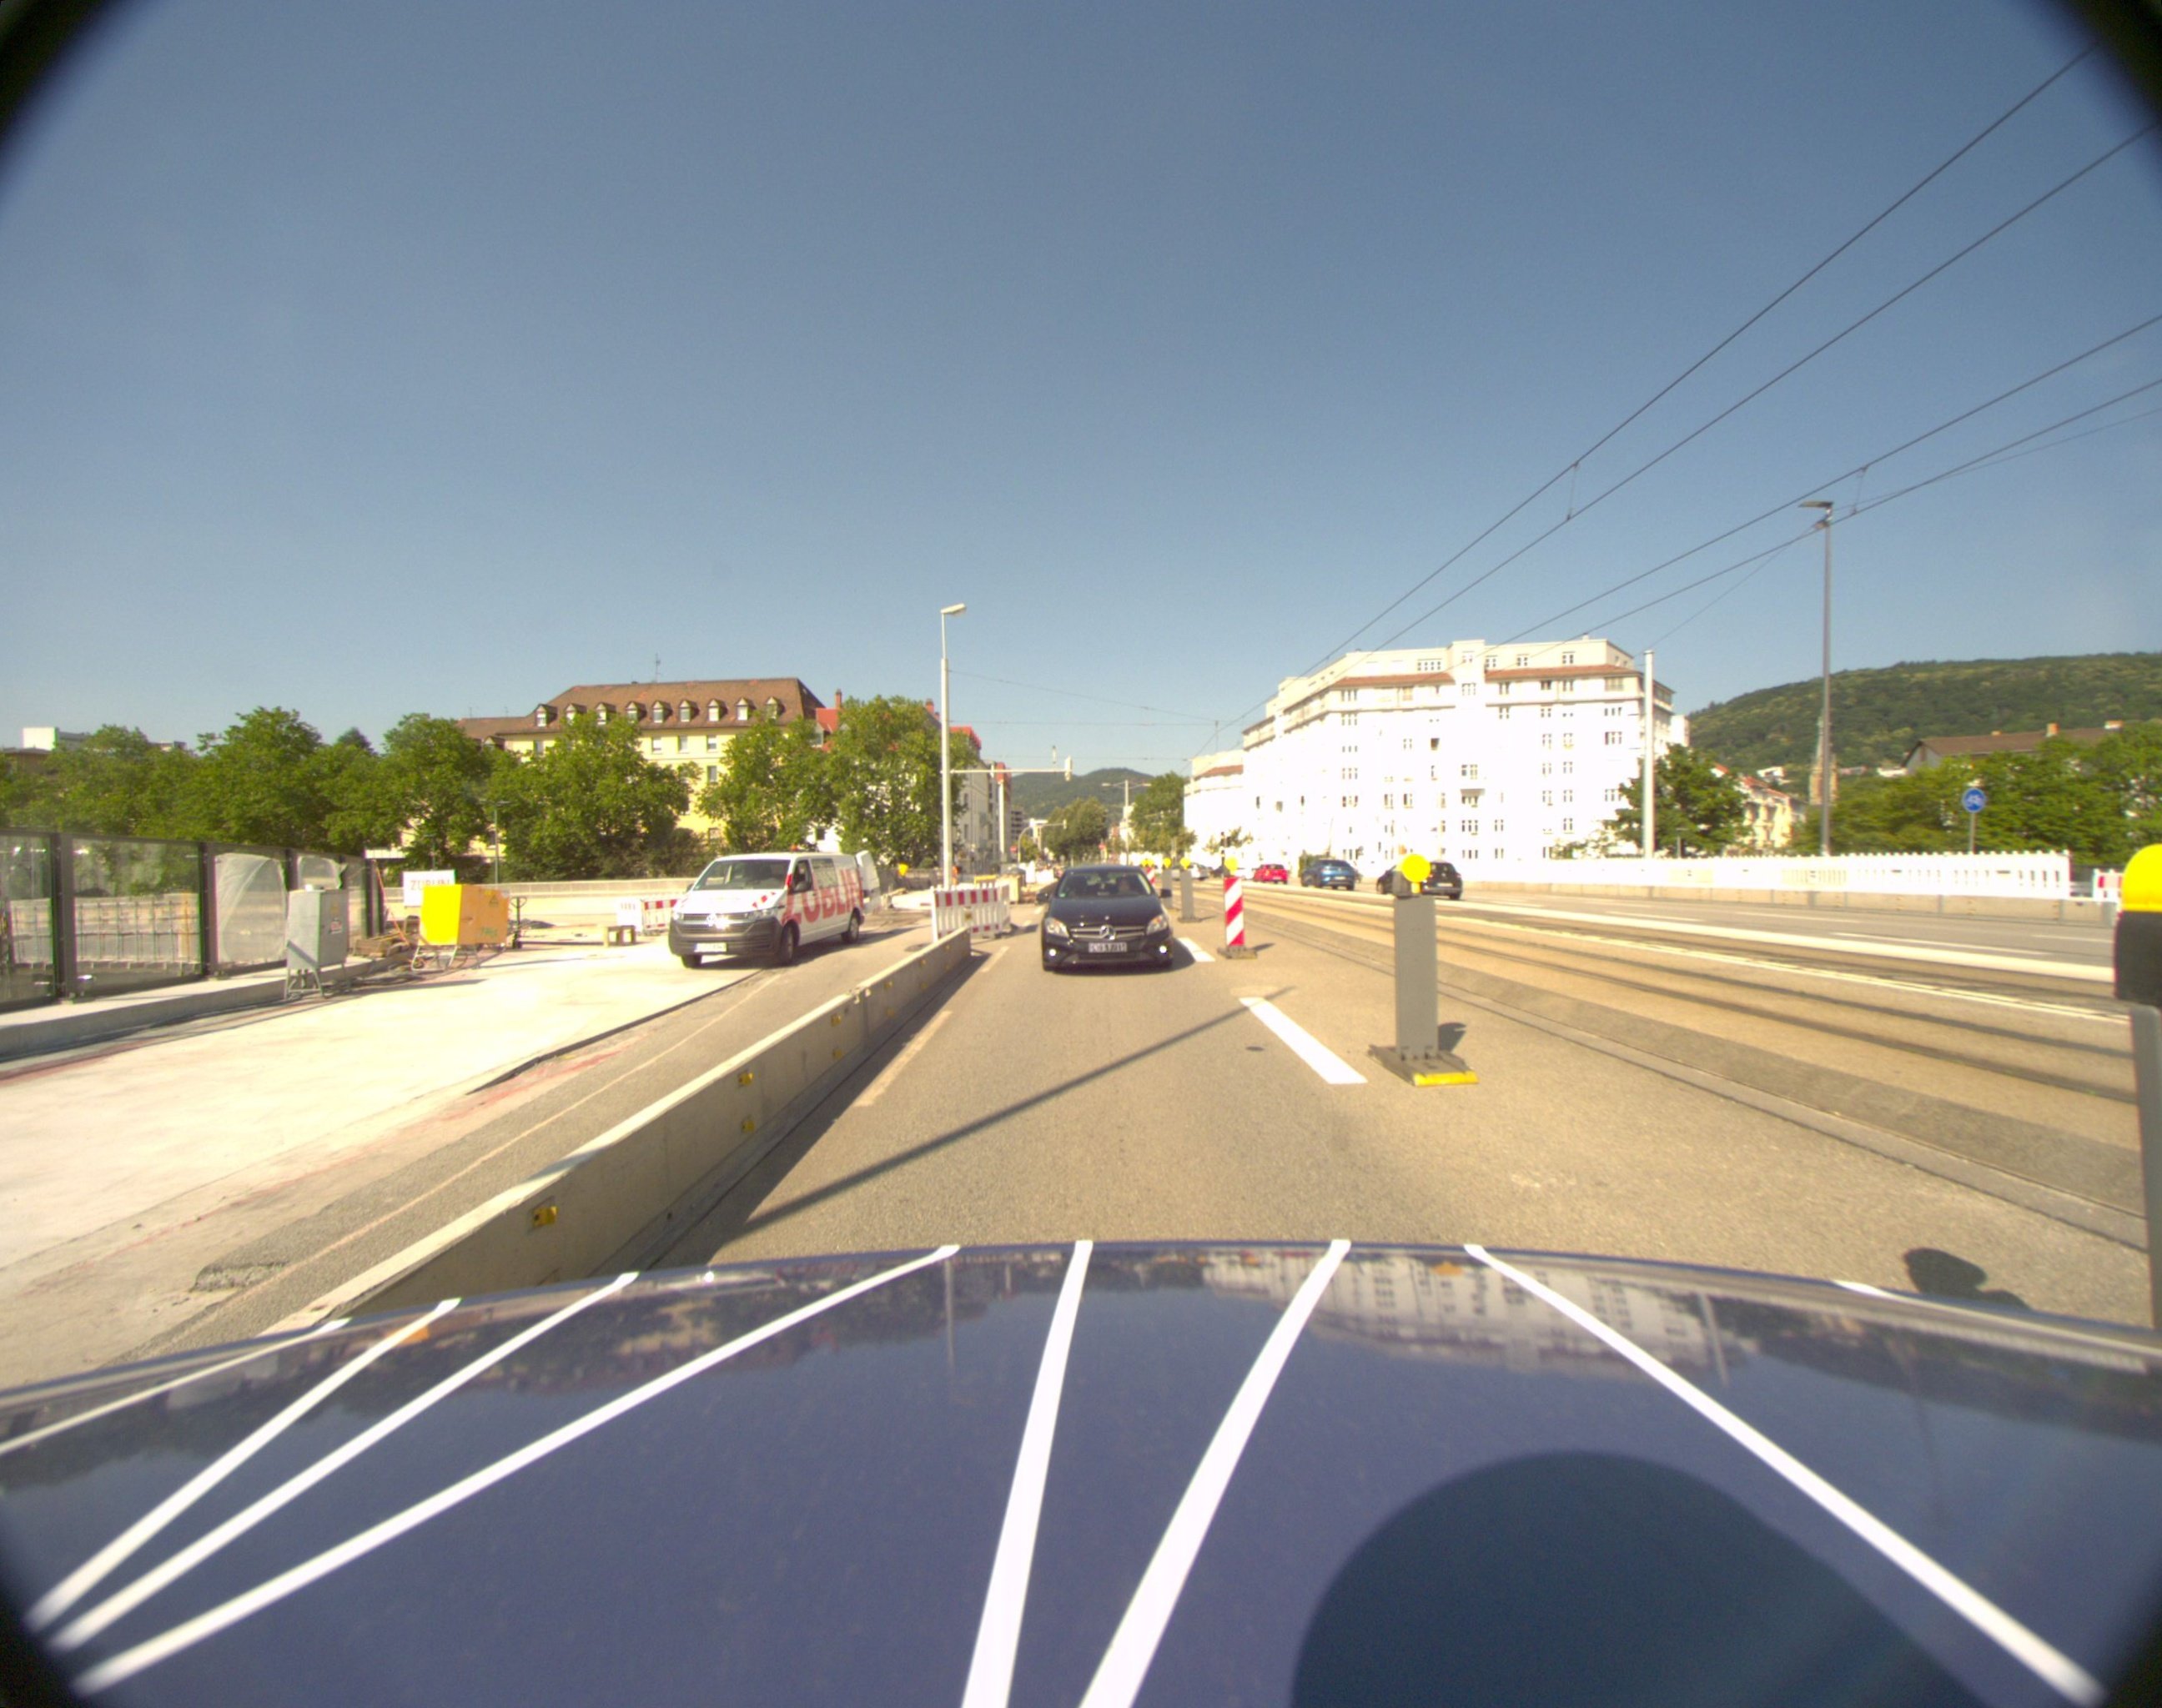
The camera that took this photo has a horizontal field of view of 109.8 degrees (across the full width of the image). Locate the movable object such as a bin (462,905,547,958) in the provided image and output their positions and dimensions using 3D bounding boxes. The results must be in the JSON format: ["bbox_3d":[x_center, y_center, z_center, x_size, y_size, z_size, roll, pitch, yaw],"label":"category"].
[{"bbox_3d":[-14.024,1.889,18.473,2.038,1.123,0.609,-5,1,23],"label":"movable object such as a bin"}]

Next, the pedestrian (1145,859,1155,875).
[{"bbox_3d":[7.687,1.433,84.780,1.003,1.697,0.822,-1,1,-7],"label":"pedestrian"}]

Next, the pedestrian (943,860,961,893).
[{"bbox_3d":[-6.996,1.223,41.143,0.821,1.784,0.864,1,0,-1],"label":"pedestrian"}]

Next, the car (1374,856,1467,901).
[{"bbox_3d":[12.286,0.847,27.775,1.509,1.491,4.177,1,0,0],"label":"car"}]

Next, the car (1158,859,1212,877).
[{"bbox_3d":[8.783,1.182,64.270,1.646,1.429,4.630,1,0,-39],"label":"car"}]

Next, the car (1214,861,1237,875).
[{"bbox_3d":[17.759,1.685,93.442,1.740,1.628,3.739,-1,0,-5],"label":"car"}]

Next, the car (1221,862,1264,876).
[{"bbox_3d":[16.536,1.523,77.938,1.705,1.403,4.475,0,0,-31],"label":"car"}]

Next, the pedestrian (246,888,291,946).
[{"bbox_3d":[-33.900,2.602,31.725,0.878,2.319,0.797,-6,0,-25],"label":"pedestrian"}]

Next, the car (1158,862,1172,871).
[{"bbox_3d":[14.342,2.207,129.898,1.740,1.475,3.739,-1,0,-5],"label":"car"}]

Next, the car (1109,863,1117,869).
[{"bbox_3d":[8.511,3.154,202.647,1.739,1.475,3.739,-1,0,-3],"label":"car"}]

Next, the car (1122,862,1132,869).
[{"bbox_3d":[10.602,2.591,174.739,1.740,1.475,3.739,-1,0,-5],"label":"car"}]

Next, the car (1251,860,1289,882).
[{"bbox_3d":[13.055,1.153,52.720,1.537,1.429,3.980,4,0,0],"label":"car"}]

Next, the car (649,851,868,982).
[{"bbox_3d":[-5.807,1.001,14.495,1.883,2.021,4.891,-2,0,2],"label":"car"}]

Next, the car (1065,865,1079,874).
[{"bbox_3d":[-1.375,2.319,115.379,1.768,1.346,3.998,-2,-1,-6],"label":"car"}]

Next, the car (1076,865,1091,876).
[{"bbox_3d":[0.252,2.077,95.821,1.767,1.346,4.000,-2,-1,-1],"label":"car"}]

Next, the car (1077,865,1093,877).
[{"bbox_3d":[0.505,1.981,88.440,1.767,1.313,4.001,-2,-1,1],"label":"car"}]

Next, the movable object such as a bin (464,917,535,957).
[{"bbox_3d":[-13.164,1.857,17.216,0.754,0.837,1.107,-1,-3,40],"label":"movable object such as a bin"}]

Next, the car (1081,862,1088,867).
[{"bbox_3d":[1.049,3.095,222.819,1.798,1.475,3.739,-1,0,-3],"label":"car"}]

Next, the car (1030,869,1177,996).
[{"bbox_3d":[0.356,0.988,11.422,1.702,1.399,4.624,-3,0,2],"label":"car"}]

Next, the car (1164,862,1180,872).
[{"bbox_3d":[14.696,2.091,122.740,1.740,1.475,3.739,-1,0,-5],"label":"car"}]

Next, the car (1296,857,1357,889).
[{"bbox_3d":[12.478,0.923,38.924,1.674,1.541,4.556,0,0,0],"label":"car"}]
